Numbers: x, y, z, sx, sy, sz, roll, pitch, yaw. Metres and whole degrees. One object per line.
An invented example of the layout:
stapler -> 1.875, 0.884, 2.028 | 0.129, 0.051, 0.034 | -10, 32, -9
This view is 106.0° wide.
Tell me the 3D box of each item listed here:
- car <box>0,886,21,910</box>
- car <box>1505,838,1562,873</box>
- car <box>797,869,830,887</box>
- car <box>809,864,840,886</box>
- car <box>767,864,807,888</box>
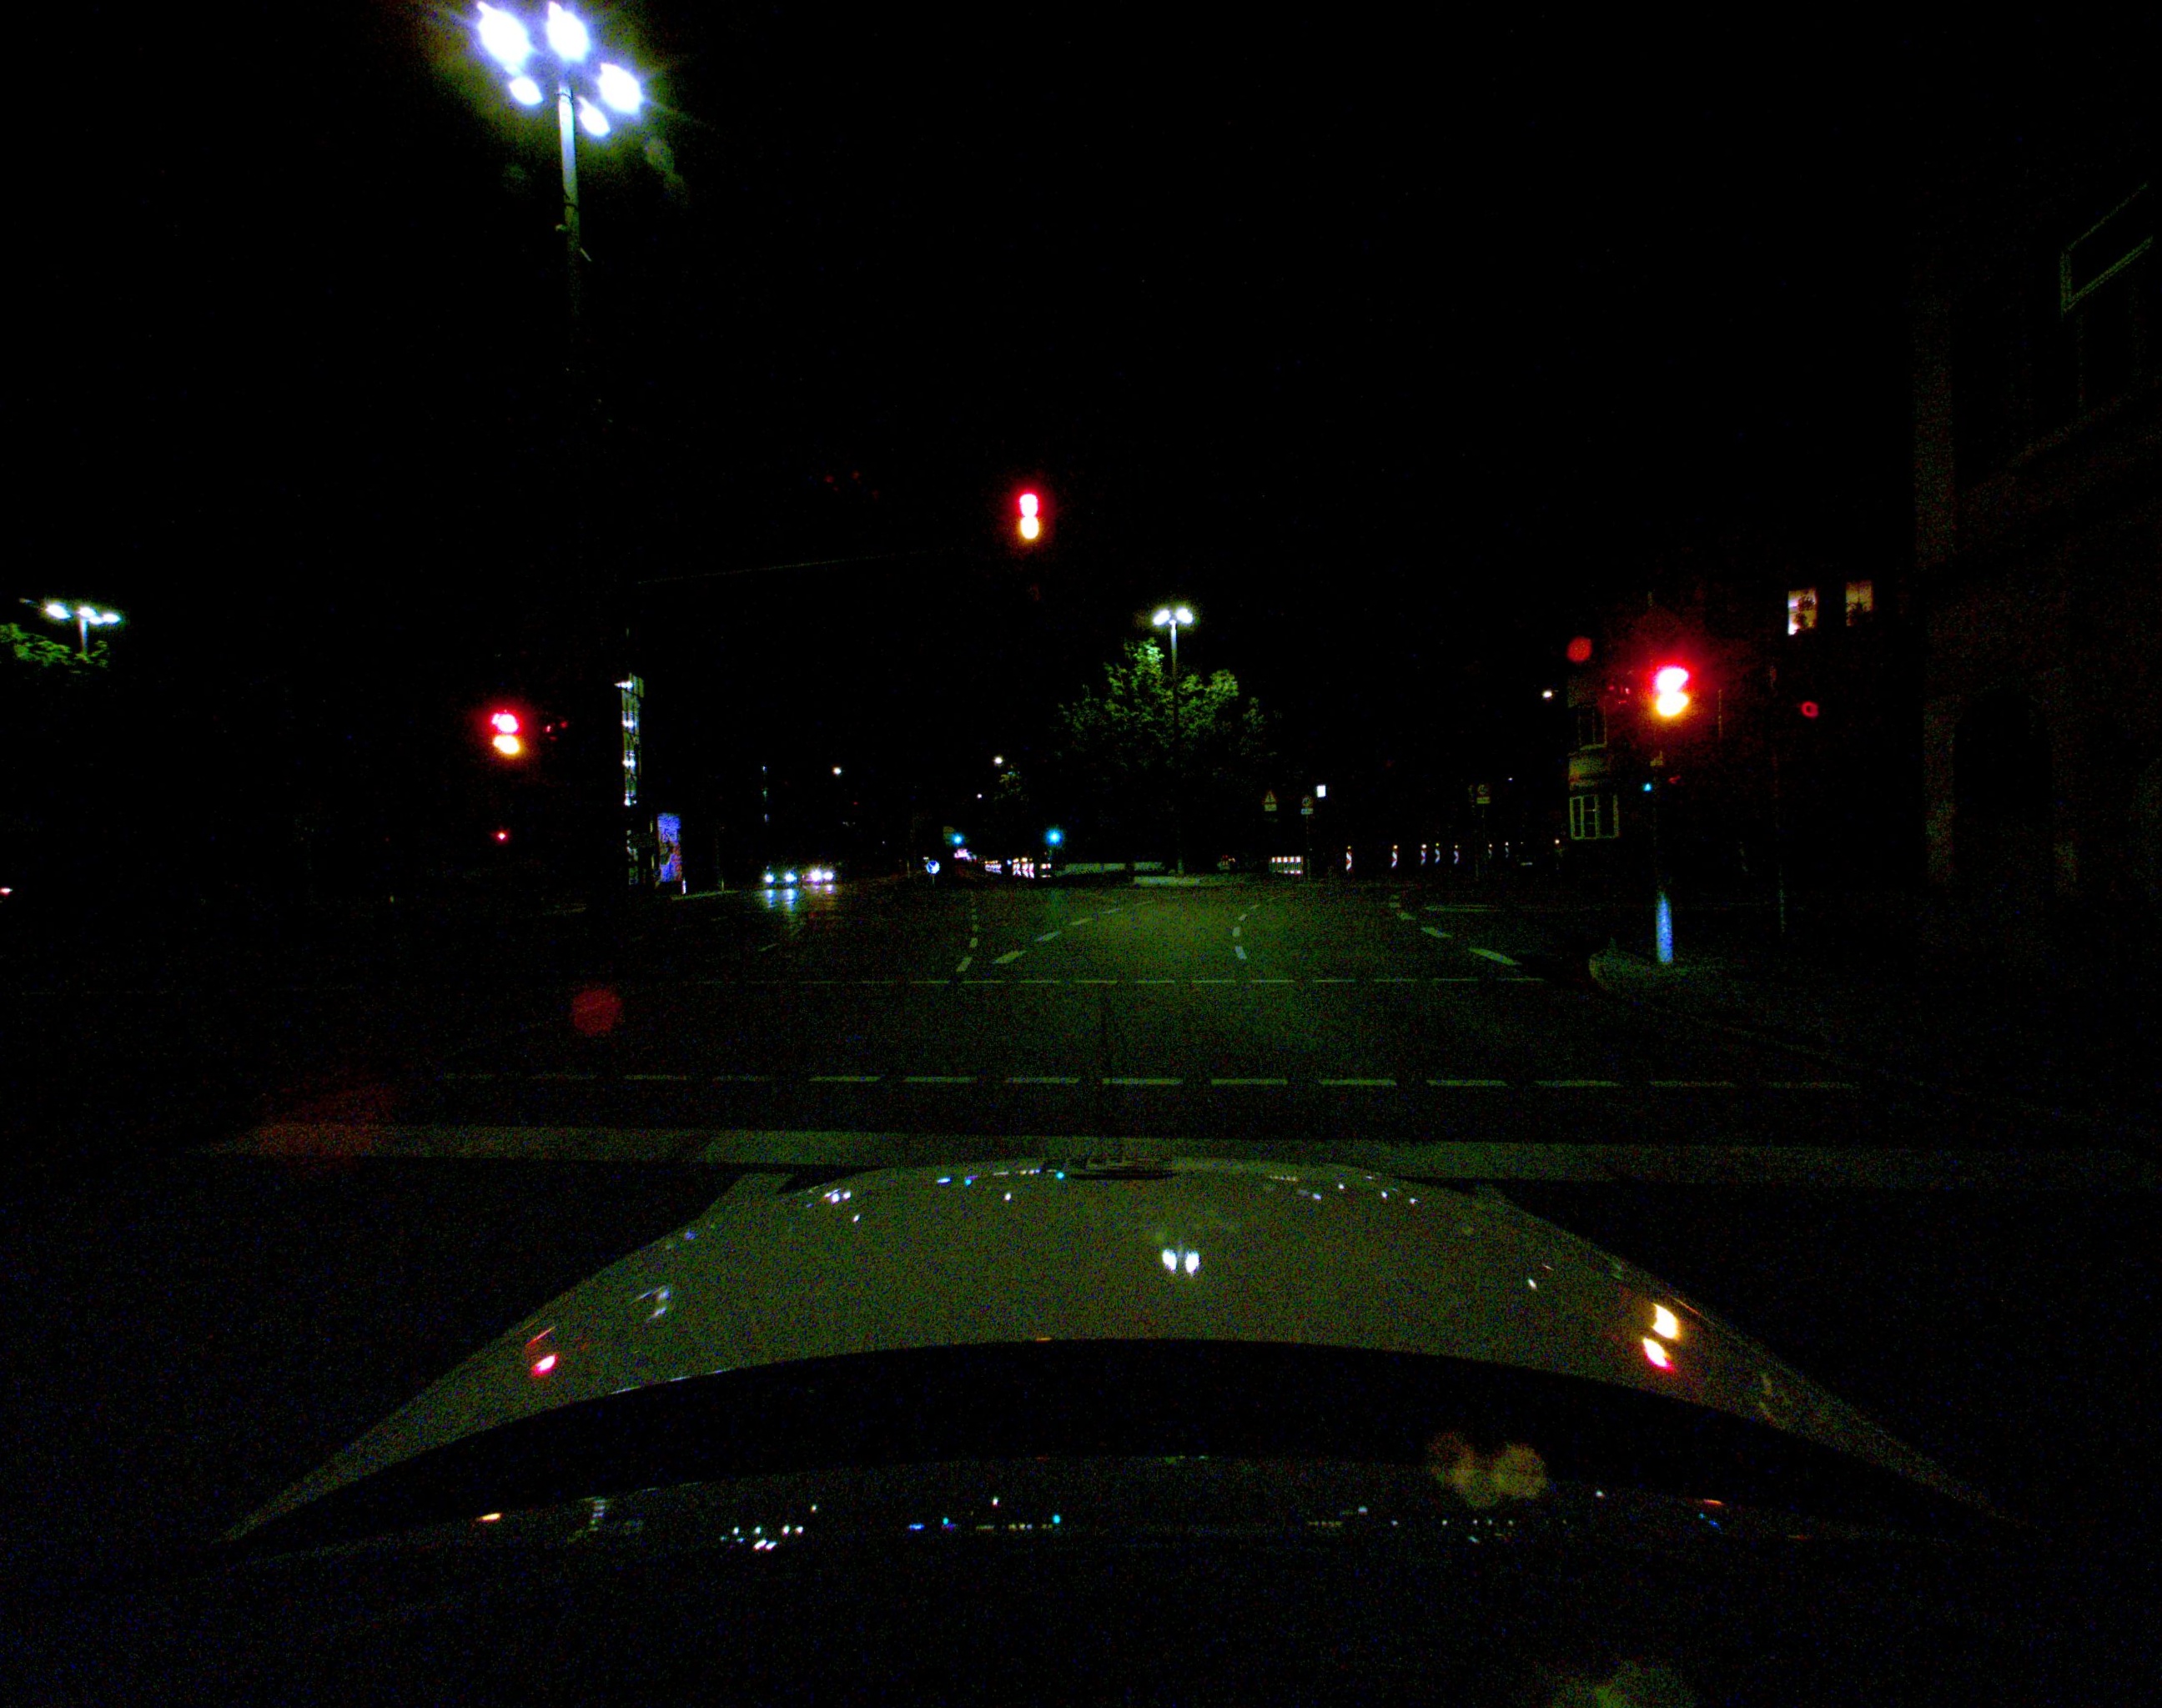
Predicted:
car -> -67.917, 2.767, 50.273 | 3.956, 1.491, 1.716 | -2, -1, 17
car -> 22.611, 0.074, 40.617 | 1.711, 1.612, 3.646 | -2, -1, 41
car -> -20.410, 1.809, 62.238 | 1.756, 1.322, 3.538 | -2, -1, -7
car -> -21.251, 1.694, 67.549 | 1.756, 1.728, 3.538 | -2, -1, -7
car -> -19.833, 1.452, 55.018 | 1.614, 1.515, 3.990 | -2, -1, -7
